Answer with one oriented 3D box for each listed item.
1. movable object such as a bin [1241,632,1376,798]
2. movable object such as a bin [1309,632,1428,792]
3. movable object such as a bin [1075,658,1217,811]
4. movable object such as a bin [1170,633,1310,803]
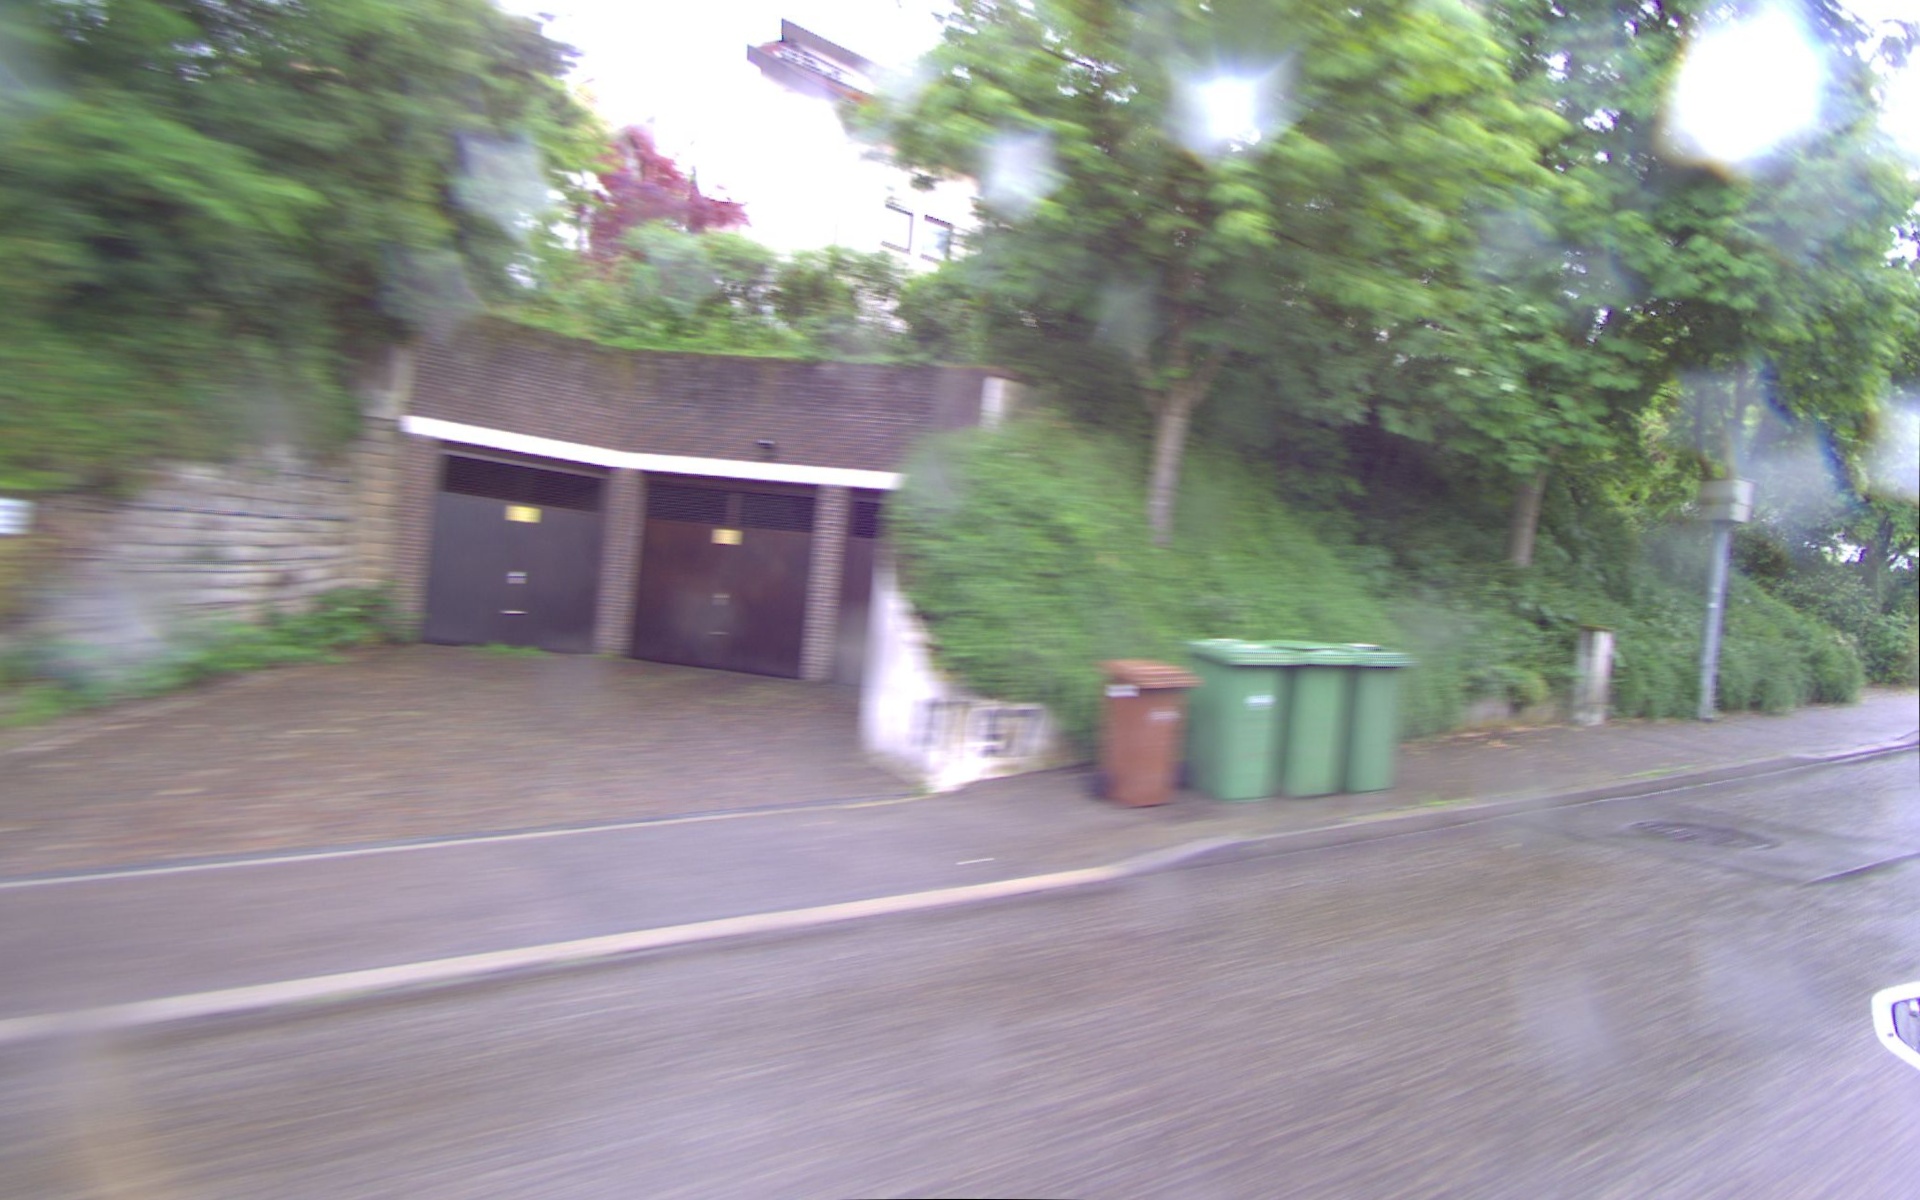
[{"bbox_3d":[2.562,0.816,7.407,0.665,1.119,0.645,2,0,-30],"label":"movable object such as a bin"},{"bbox_3d":[3.109,0.828,7.670,0.499,1.130,0.645,1,0,-30],"label":"movable object such as a bin"},{"bbox_3d":[1.247,0.874,6.776,0.665,0.923,0.645,2,0,-30],"label":"movable object such as a bin"},{"bbox_3d":[1.962,0.797,7.075,0.665,1.095,0.645,2,0,-30],"label":"movable object such as a bin"}]
